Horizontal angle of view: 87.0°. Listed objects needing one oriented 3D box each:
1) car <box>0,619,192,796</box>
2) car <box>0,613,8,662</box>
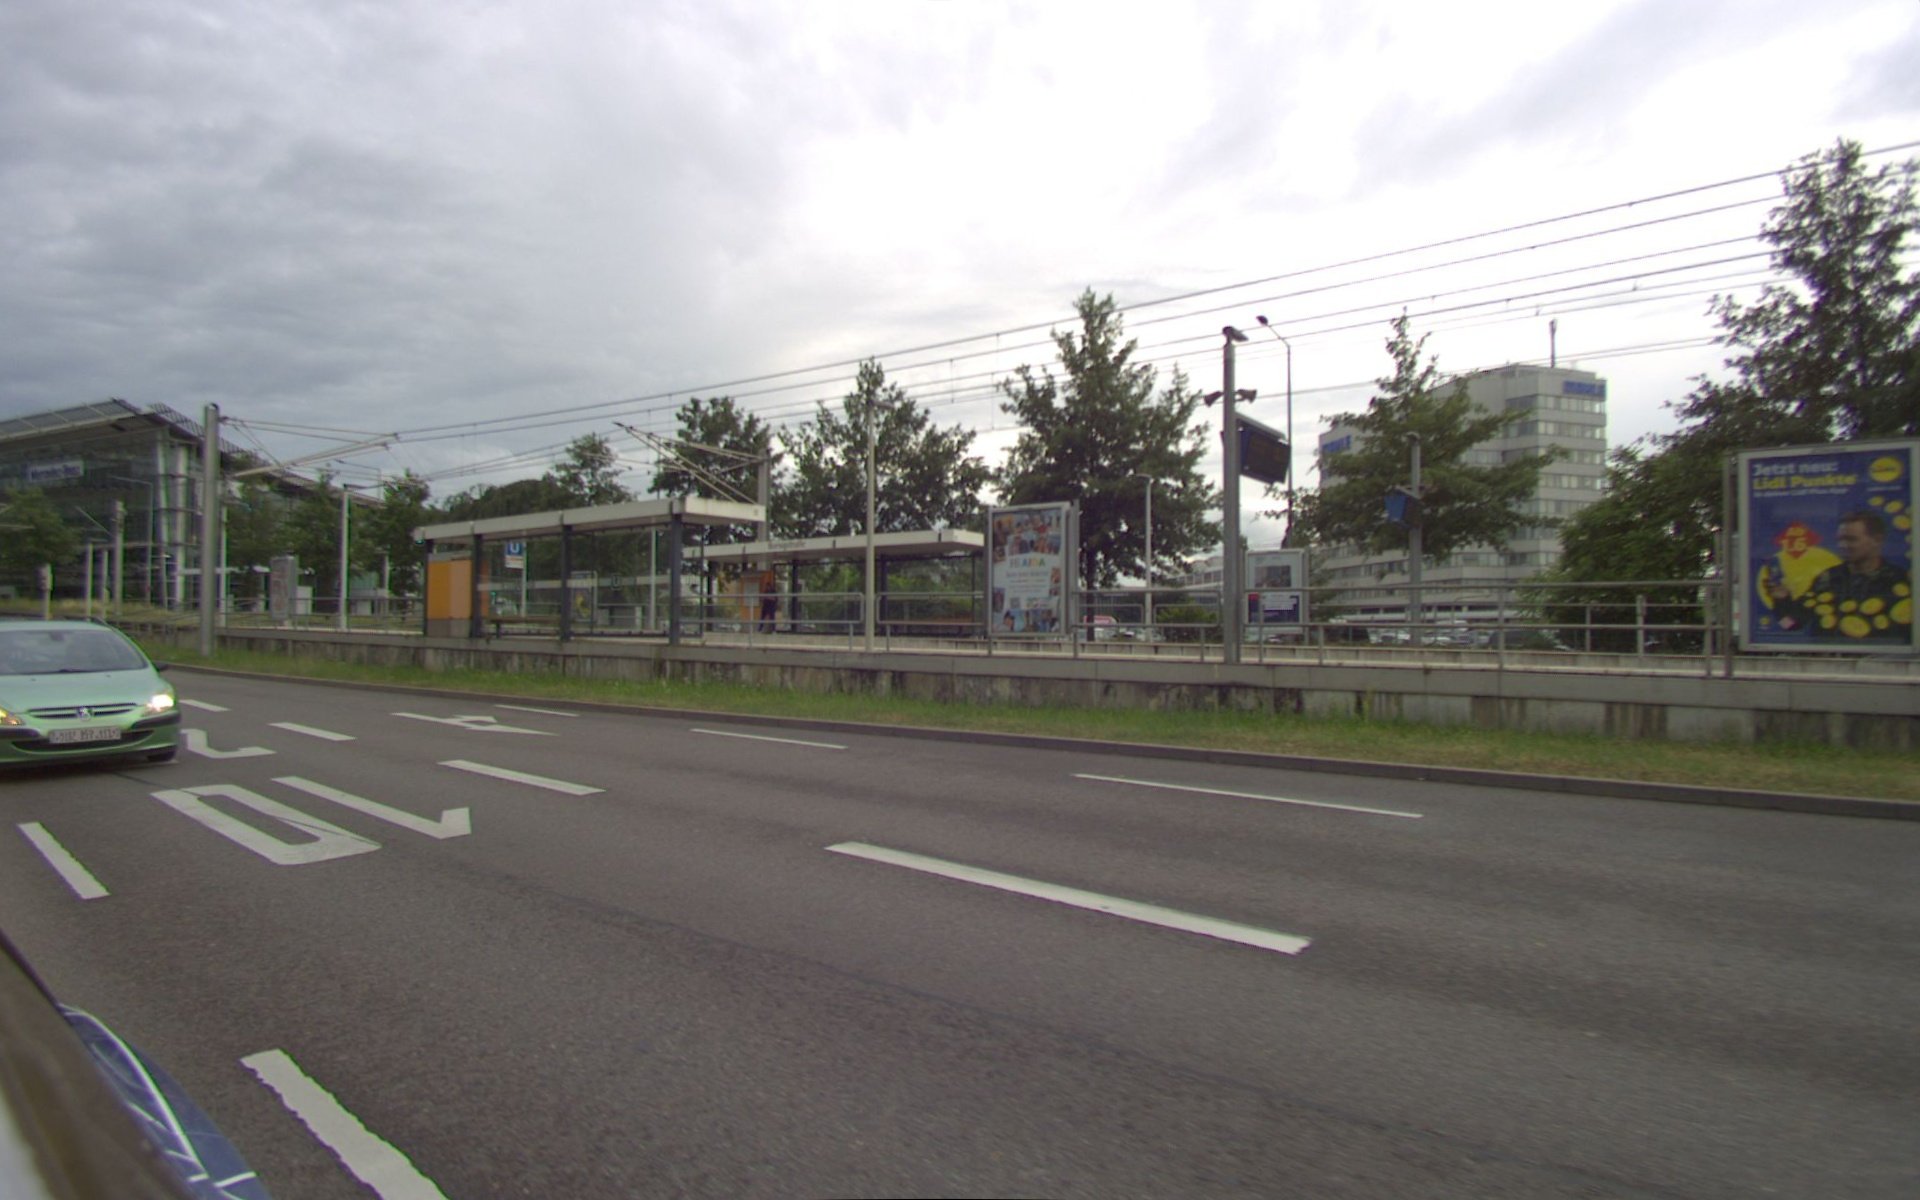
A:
[{"bbox_3d":[-9.714,0.976,10.641,4.400,1.479,1.678,0,0,40],"label":"car"},{"bbox_3d":[-31.979,1.195,32.564,3.904,1.534,1.675,0,0,42],"label":"car"}]
